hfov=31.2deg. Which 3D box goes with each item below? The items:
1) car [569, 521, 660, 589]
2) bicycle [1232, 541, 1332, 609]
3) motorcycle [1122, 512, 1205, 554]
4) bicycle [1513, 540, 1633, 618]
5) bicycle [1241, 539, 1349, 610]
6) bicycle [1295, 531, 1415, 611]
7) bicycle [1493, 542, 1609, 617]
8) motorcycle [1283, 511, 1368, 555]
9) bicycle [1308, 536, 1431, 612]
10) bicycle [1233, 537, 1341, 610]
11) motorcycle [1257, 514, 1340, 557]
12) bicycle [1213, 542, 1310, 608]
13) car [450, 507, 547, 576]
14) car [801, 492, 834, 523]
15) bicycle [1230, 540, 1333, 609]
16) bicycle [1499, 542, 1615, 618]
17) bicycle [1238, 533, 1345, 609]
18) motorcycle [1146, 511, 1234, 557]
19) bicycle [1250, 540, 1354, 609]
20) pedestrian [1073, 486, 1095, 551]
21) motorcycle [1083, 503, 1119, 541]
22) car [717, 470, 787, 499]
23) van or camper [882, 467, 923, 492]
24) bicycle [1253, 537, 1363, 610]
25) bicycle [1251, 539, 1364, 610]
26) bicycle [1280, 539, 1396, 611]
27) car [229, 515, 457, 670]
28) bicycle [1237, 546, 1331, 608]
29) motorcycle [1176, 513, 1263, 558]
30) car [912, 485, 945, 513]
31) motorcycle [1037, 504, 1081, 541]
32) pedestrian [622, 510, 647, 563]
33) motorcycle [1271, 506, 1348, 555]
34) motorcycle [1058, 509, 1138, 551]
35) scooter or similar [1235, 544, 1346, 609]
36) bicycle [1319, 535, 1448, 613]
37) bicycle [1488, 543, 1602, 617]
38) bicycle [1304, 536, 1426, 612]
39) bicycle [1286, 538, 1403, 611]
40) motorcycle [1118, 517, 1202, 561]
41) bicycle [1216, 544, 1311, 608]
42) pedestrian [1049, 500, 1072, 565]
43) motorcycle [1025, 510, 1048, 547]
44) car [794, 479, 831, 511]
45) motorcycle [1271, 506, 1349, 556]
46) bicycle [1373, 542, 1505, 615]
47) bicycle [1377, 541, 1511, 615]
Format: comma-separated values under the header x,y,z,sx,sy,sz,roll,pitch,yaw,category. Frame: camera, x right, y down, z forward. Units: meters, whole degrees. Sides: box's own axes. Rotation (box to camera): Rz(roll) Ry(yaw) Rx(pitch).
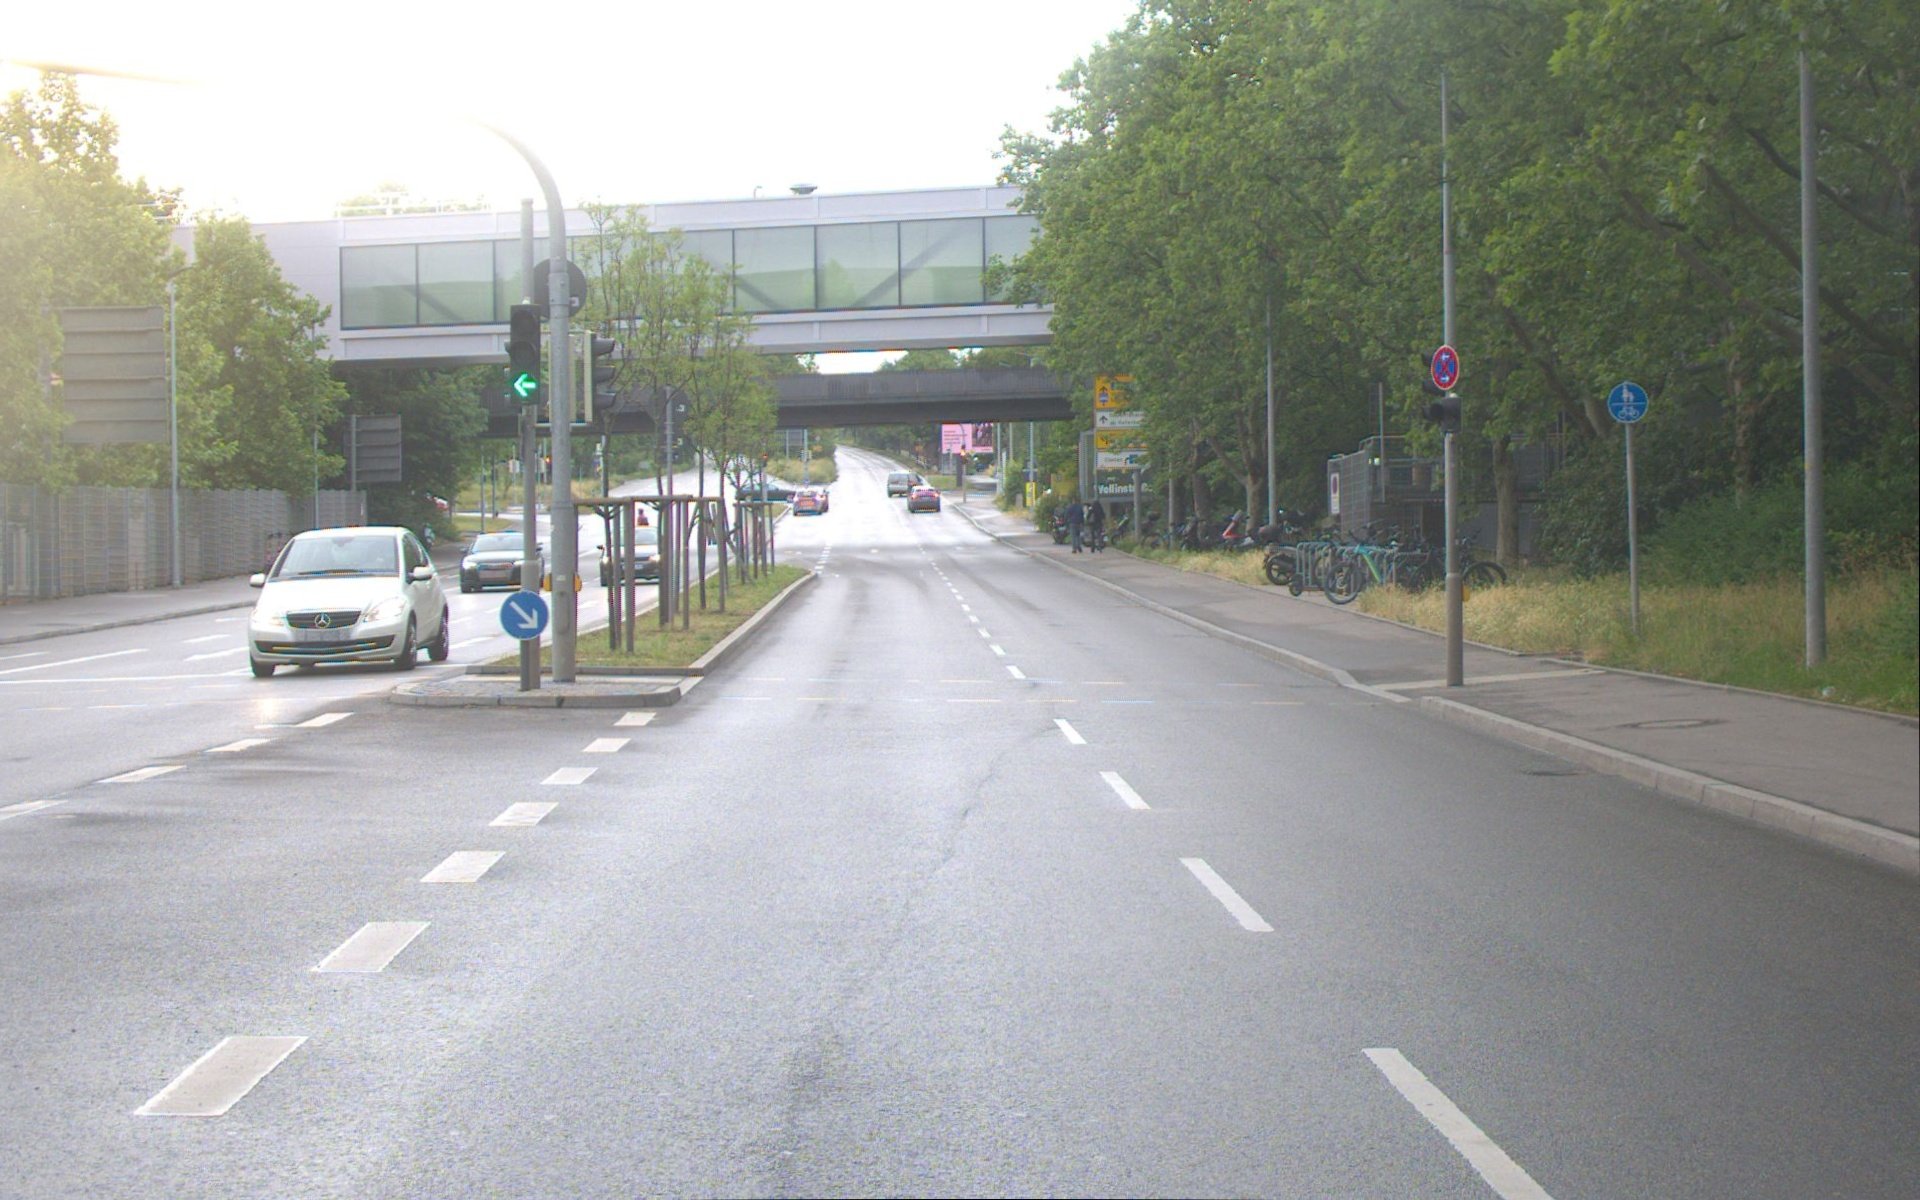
x,y,z,sx,sy,sz,roll,pitch,yaw,category
-8.584,-1.135,85.697,1.877,1.619,3.779,-1,1,0,car
6.593,-0.514,70.375,1.960,1.324,0.576,2,0,0,bicycle
6.013,-1.979,101.545,2.369,1.198,0.722,-1,1,7,motorcycle
10.906,-0.365,61.193,1.990,1.324,0.576,2,0,0,bicycle
6.508,-0.499,66.839,1.990,1.324,0.576,2,0,0,bicycle
6.909,-0.511,60.165,1.990,1.336,0.541,2,0,0,bicycle
10.878,-0.370,63.300,1.990,1.324,0.576,2,0,0,bicycle
10.522,-1.916,98.907,2.369,1.198,0.722,-1,1,7,motorcycle
6.918,-0.437,58.088,1.990,1.229,0.541,2,0,0,bicycle
6.260,-0.504,65.895,1.990,1.324,0.576,2,0,0,bicycle
9.867,-1.884,100.252,2.369,1.198,0.722,-1,1,7,motorcycle
6.360,-0.525,72.667,1.963,1.324,0.654,2,0,0,bicycle
-11.234,-1.438,83.889,1.877,1.619,3.779,-1,1,0,car
-8.797,-5.683,212.329,1.884,1.756,3.969,2,0,0,car
6.466,-0.504,69.138,1.990,1.324,0.576,2,0,0,bicycle
10.871,-0.369,62.622,1.990,1.324,0.576,2,0,0,bicycle
6.512,-0.563,67.572,1.990,1.425,0.723,2,0,0,bicycle
6.348,-1.814,94.819,2.369,1.198,0.722,-1,1,7,motorcycle
6.803,-0.505,68.427,1.990,1.324,0.576,2,0,0,bicycle
3.850,-2.536,106.770,0.622,2.007,0.605,-2,1,0,pedestrian
5.001,-2.771,121.889,0.790,1.307,2.377,-2,1,-9,motorcycle
-14.302,-7.935,236.359,4.511,1.756,1.905,2,0,4,car
-4.193,-8.779,250.746,1.799,1.807,3.763,2,2,19,van or camper
6.593,-0.493,65.086,1.990,1.324,0.576,2,0,0,bicycle
6.374,-0.465,63.181,1.990,1.237,0.541,2,0,0,bicycle
6.789,-0.451,61.807,1.990,1.237,0.541,2,0,0,bicycle
-6.887,-0.120,38.721,1.877,1.619,3.779,-1,1,0,car
7.145,-0.508,75.888,1.963,1.324,0.654,2,0,0,bicycle
7.307,-1.825,96.846,2.369,1.198,0.722,-1,1,7,motorcycle
-1.840,-5.954,203.006,1.875,1.492,4.068,2,0,0,car
3.605,-2.831,125.359,0.790,1.307,2.377,-2,1,-19,motorcycle
-12.464,-2.425,131.646,0.872,1.997,0.855,-2,1,-8,pedestrian
11.002,-2.198,108.280,2.369,1.471,0.722,-1,1,7,motorcycle
4.199,-2.131,104.717,2.369,1.198,0.722,-1,1,7,motorcycle
6.138,-0.436,63.944,1.990,1.134,0.541,2,0,0,scooter or similar
6.877,-0.426,55.899,1.990,1.212,0.541,2,0,0,bicycle
10.880,-0.371,63.939,1.990,1.324,0.576,2,0,0,bicycle
6.925,-0.442,58.882,1.990,1.237,0.541,2,0,0,bicycle
6.804,-0.449,60.858,1.990,1.237,0.541,2,0,0,bicycle
5.802,-1.778,99.775,2.369,1.198,0.722,-1,1,7,motorcycle
6.562,-0.522,74.385,1.963,1.324,0.654,2,0,0,bicycle
3.124,-2.101,106.815,0.622,2.007,0.605,-2,1,0,pedestrian
3.200,-3.009,144.646,0.790,1.528,2.377,-2,1,-2,motorcycle
-8.858,-6.321,206.670,1.993,1.756,4.000,2,0,0,car
10.910,-2.154,107.046,2.369,1.471,0.722,-1,1,7,motorcycle
7.576,-0.343,54.440,1.990,1.091,0.541,2,0,0,bicycle
7.582,-0.342,53.871,1.990,1.091,0.541,2,0,0,bicycle
